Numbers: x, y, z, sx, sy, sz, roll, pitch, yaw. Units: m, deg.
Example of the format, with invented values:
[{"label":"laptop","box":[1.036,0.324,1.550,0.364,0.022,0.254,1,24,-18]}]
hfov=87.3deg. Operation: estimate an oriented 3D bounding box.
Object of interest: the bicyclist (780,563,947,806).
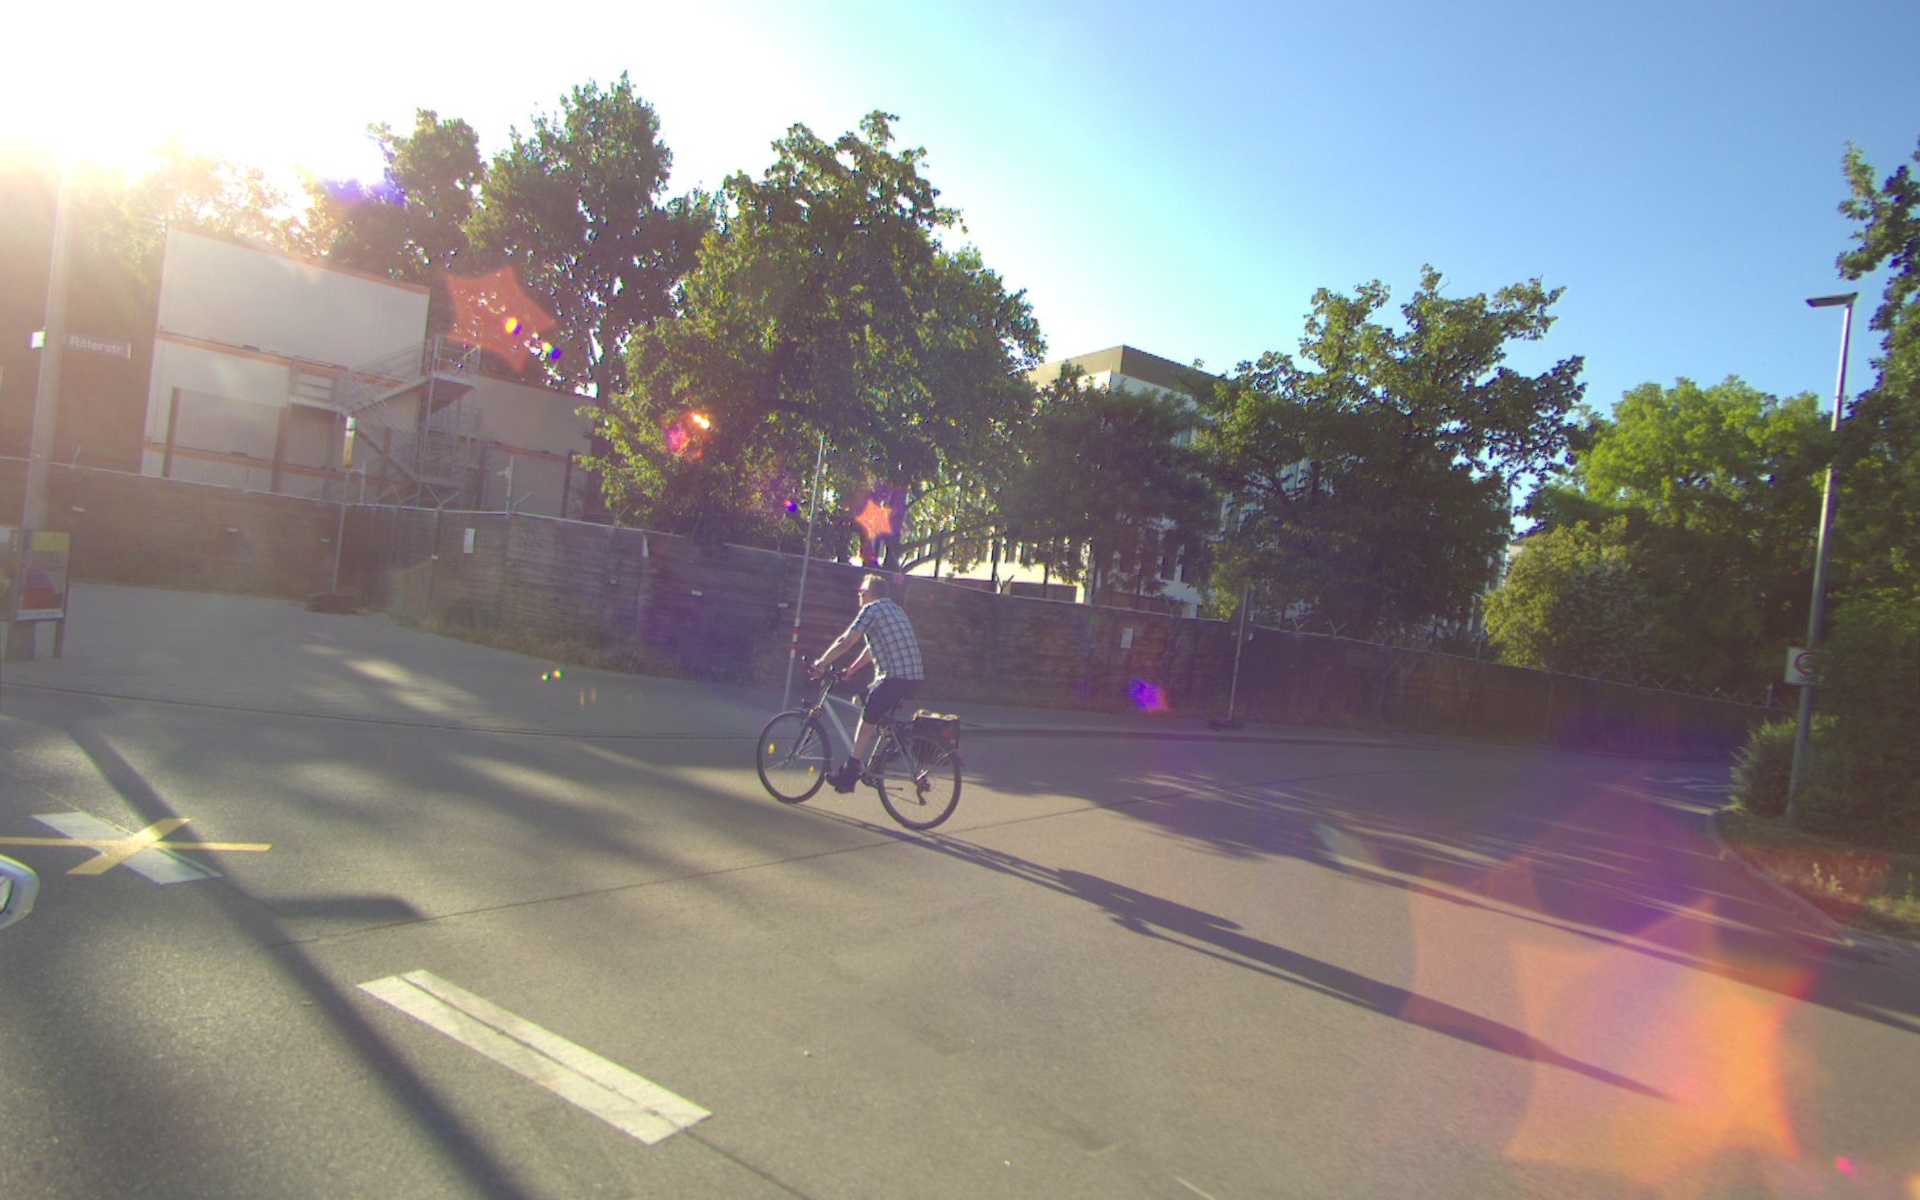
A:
[{"label":"bicyclist","box":[-0.714,0.603,7.482,0.887,1.634,0.585,7,0,28]}]

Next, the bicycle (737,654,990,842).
[{"label":"bicycle","box":[-0.760,1.064,7.595,1.878,1.074,0.428,7,0,29]}]
